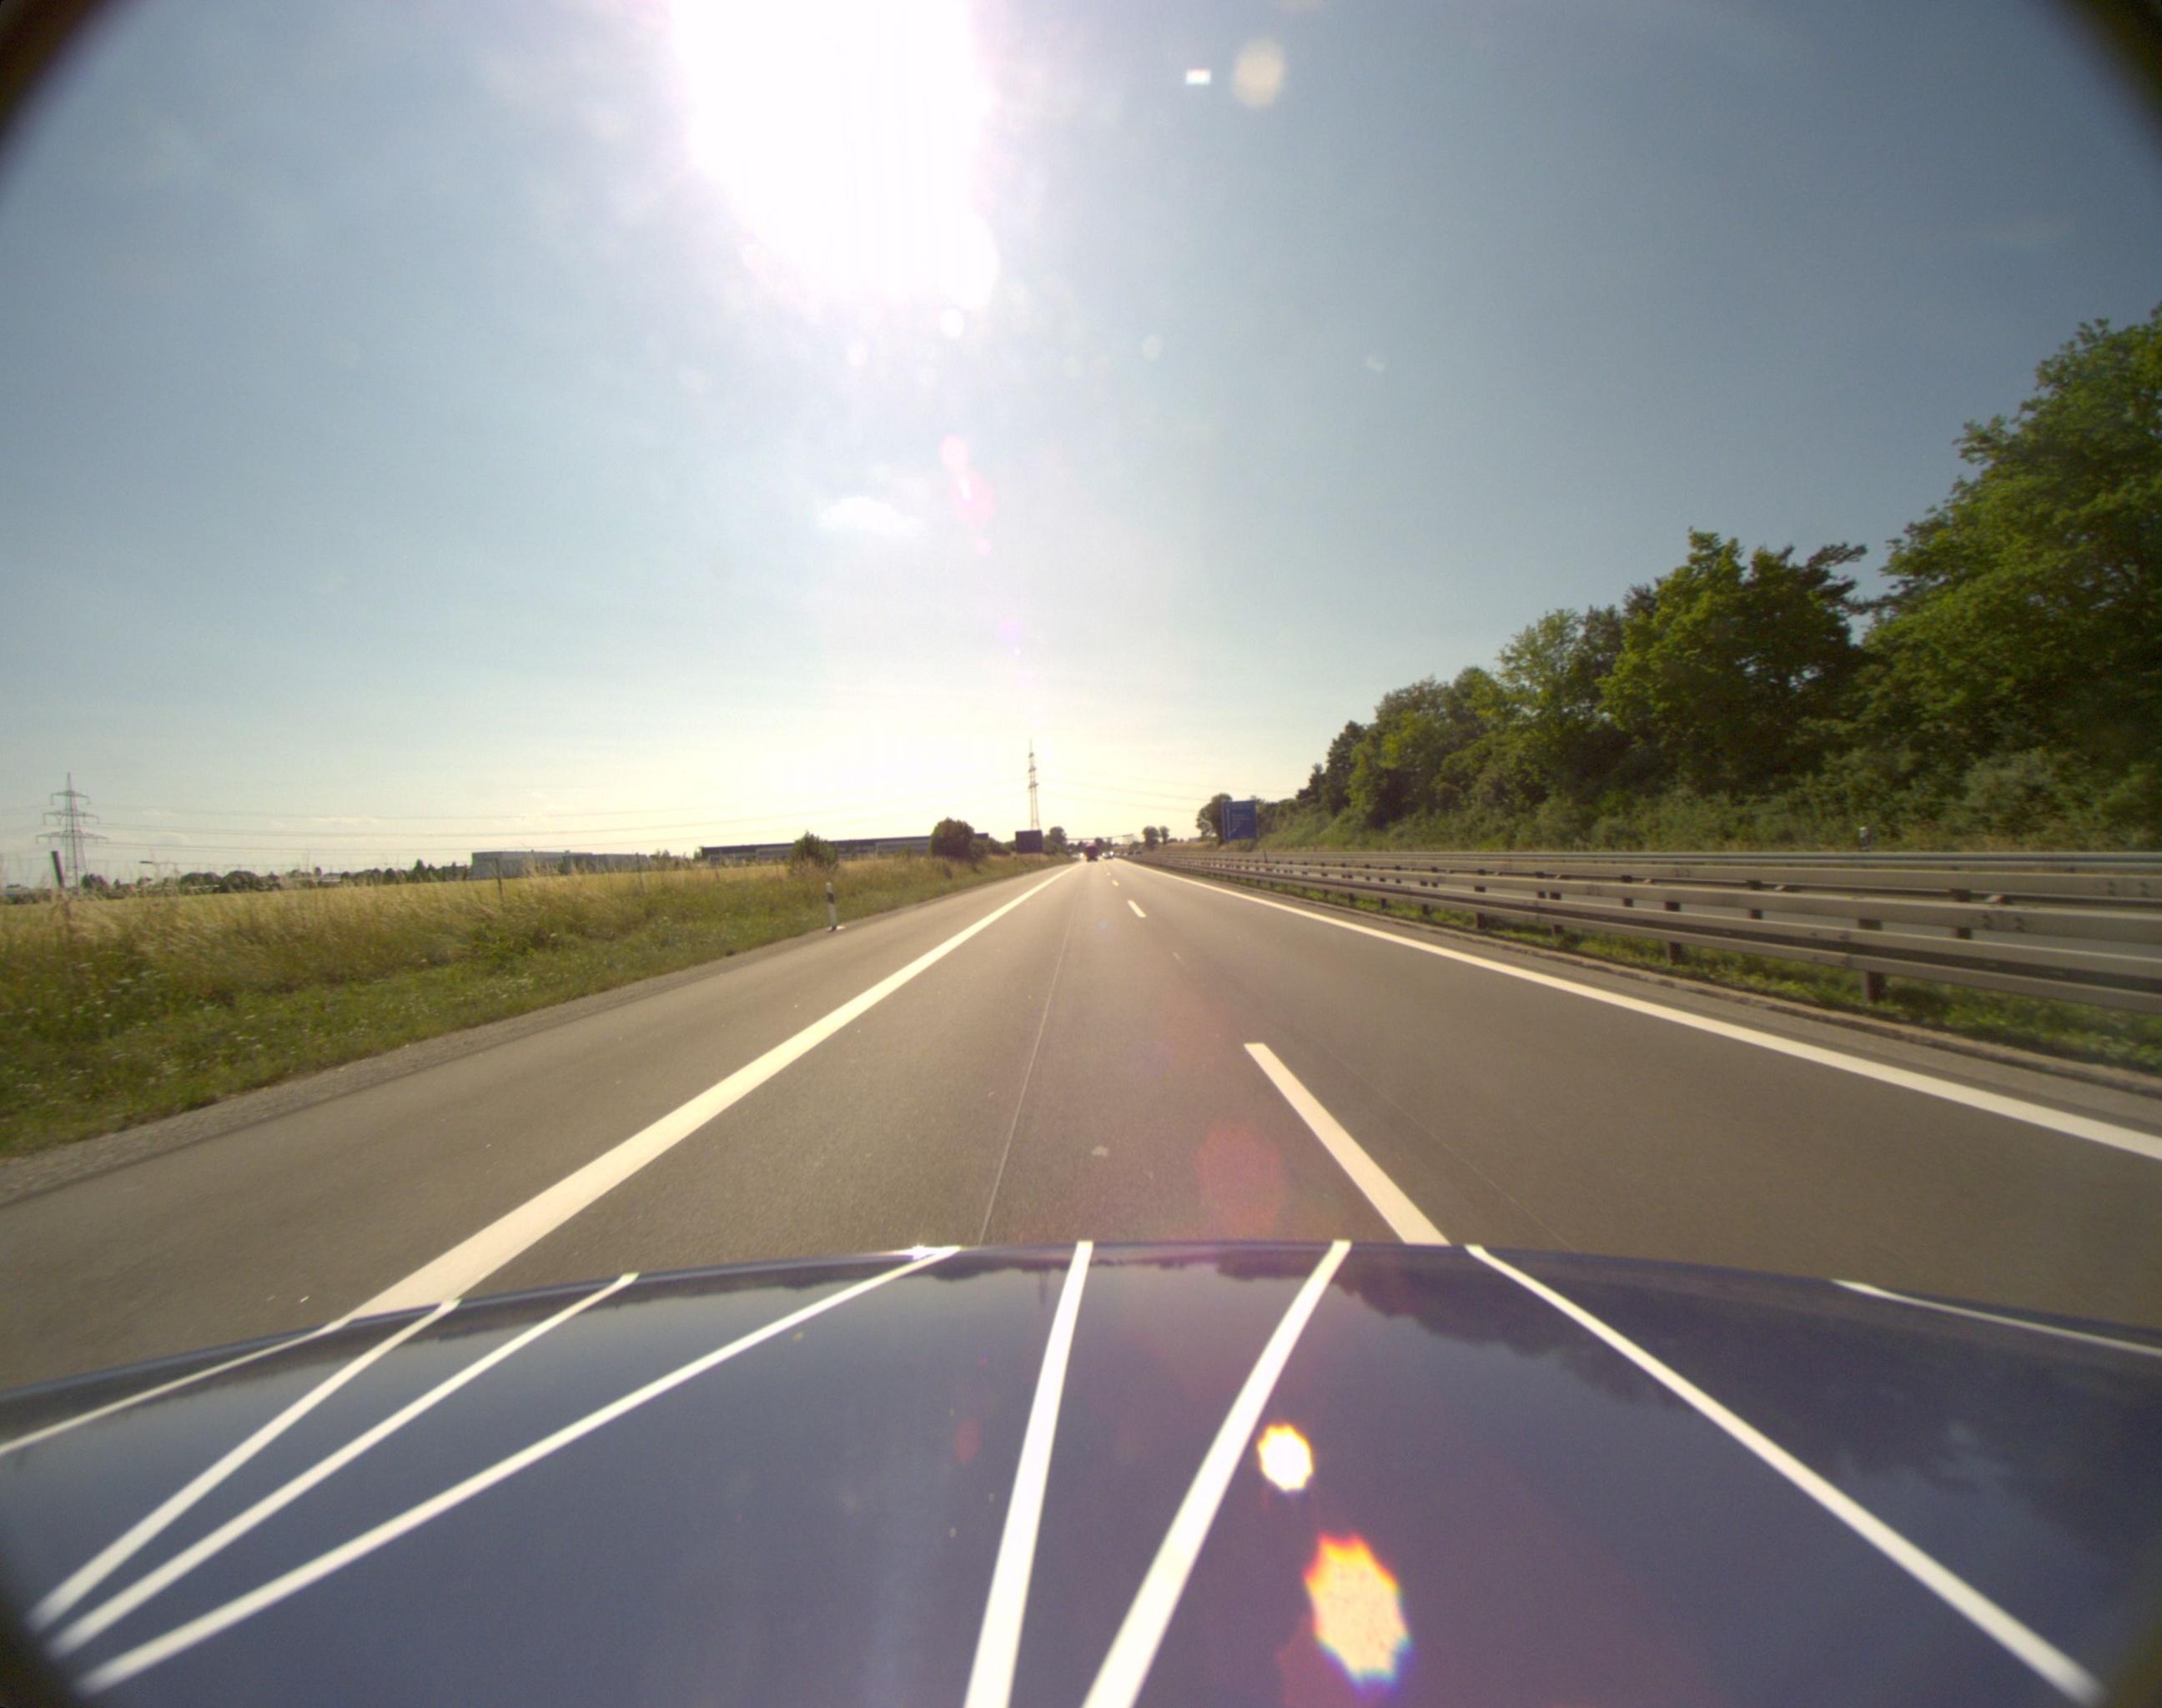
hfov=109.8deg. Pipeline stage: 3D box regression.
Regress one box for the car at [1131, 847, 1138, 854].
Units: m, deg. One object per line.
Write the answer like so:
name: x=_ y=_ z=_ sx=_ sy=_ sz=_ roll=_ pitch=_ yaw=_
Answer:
car: x=17.366 y=-1.109 z=244.958 sx=1.998 sy=1.961 sz=5.039 roll=-3 pitch=0 yaw=2

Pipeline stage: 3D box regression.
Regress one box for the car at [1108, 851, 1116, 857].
car: x=7.419 y=-0.017 z=181.788 sx=1.860 sy=1.361 sz=4.000 roll=-2 pitch=1 yaw=1

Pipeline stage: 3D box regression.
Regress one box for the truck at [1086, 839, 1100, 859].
truck: x=2.567 y=-1.102 z=163.924 sx=2.570 sy=3.939 sz=8.643 roll=-4 pitch=0 yaw=0

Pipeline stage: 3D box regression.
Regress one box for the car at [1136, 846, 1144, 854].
car: x=16.080 y=-1.023 z=207.186 sx=1.998 sy=1.978 sz=5.691 roll=-3 pitch=0 yaw=1
